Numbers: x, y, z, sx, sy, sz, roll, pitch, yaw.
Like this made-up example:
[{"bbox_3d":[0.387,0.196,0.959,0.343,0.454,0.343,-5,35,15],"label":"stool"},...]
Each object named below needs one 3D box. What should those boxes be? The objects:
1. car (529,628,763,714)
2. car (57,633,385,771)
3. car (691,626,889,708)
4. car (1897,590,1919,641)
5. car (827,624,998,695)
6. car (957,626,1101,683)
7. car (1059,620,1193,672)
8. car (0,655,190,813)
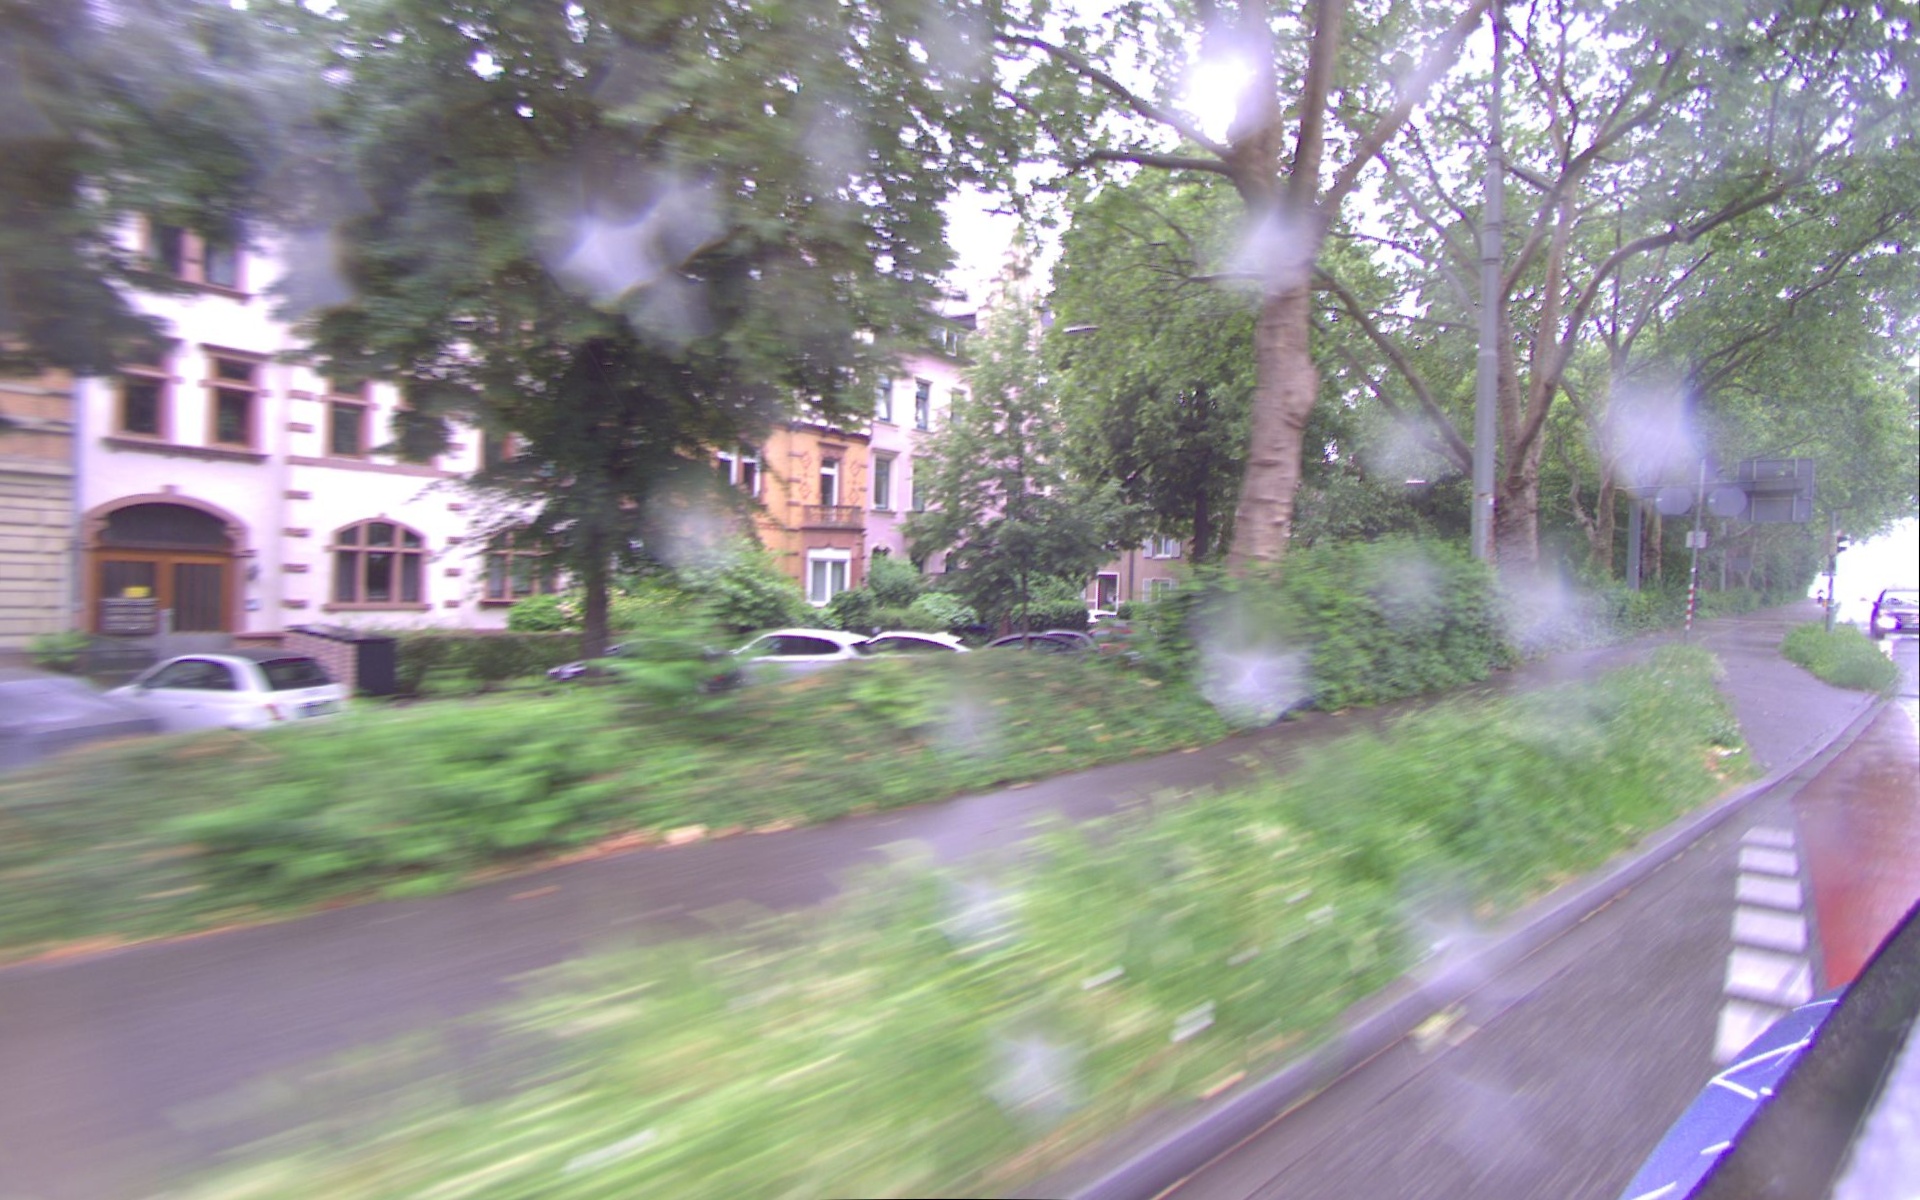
[{"bbox_3d":[-6.087,1.335,19.840,3.936,1.482,1.994,0,0,10],"label":"car"},{"bbox_3d":[-10.203,1.317,14.018,3.945,1.523,1.650,1,2,17],"label":"car"},{"bbox_3d":[-3.676,1.422,22.222,3.936,1.629,1.820,0,0,11],"label":"car"},{"bbox_3d":[33.954,0.511,35.358,1.751,1.687,3.620,0,0,43],"label":"car"},{"bbox_3d":[-1.094,1.418,24.743,3.931,1.585,1.996,0,0,7],"label":"car"},{"bbox_3d":[1.959,1.510,28.610,3.931,1.482,1.909,0,0,7],"label":"car"},{"bbox_3d":[5.009,1.370,31.008,3.931,1.482,1.834,0,0,7],"label":"car"},{"bbox_3d":[-11.371,1.434,11.716,4.200,1.397,1.684,1,2,14],"label":"car"}]
